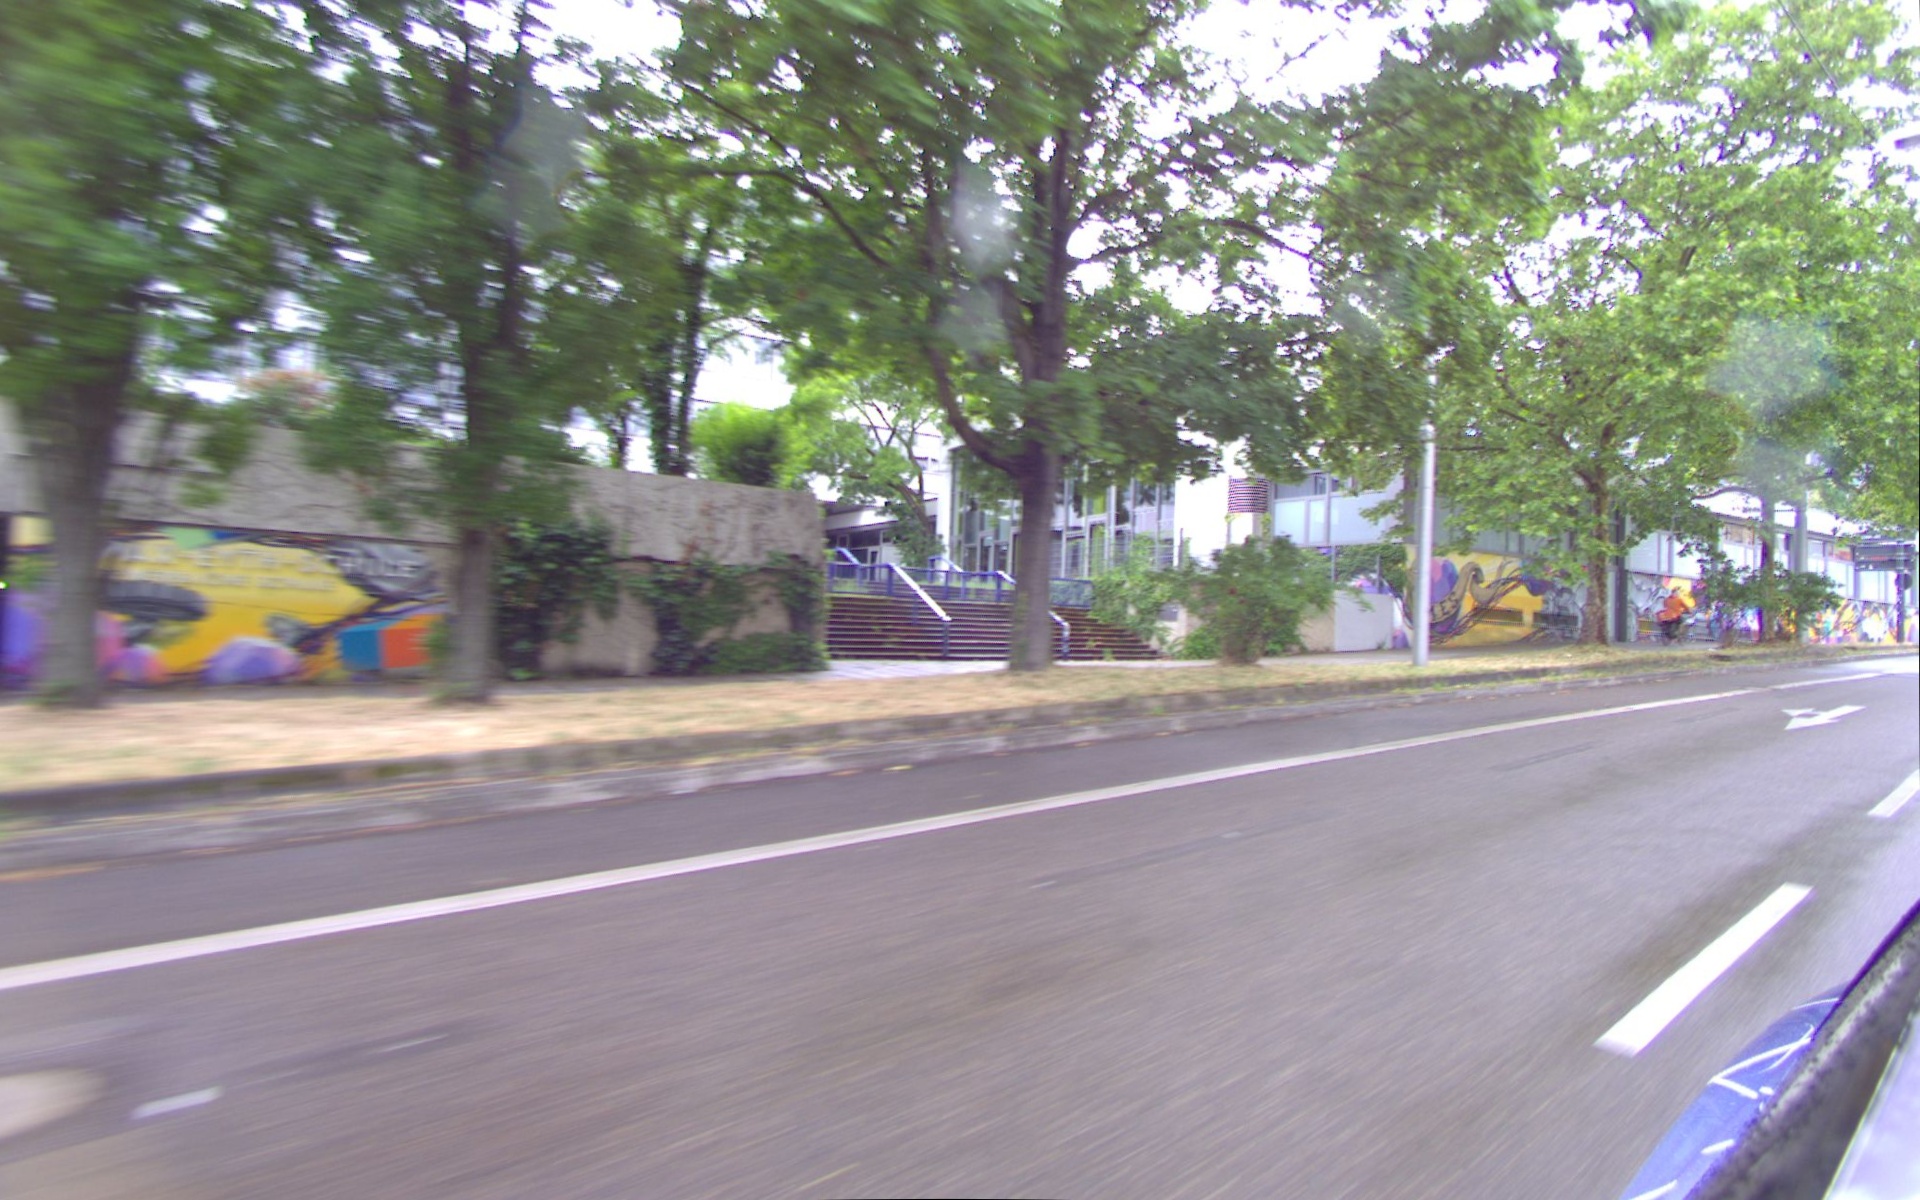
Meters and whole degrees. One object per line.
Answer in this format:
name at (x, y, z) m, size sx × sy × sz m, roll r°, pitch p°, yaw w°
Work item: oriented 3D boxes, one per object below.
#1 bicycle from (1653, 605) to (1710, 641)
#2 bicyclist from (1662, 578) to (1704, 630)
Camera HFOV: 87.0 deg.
bicycle at (23.632, 0.741, 33.154) m, size 2.155 × 1.126 × 0.809 m, roll 1°, pitch 0°, yaw -34°
bicyclist at (23.733, 0.129, 33.230) m, size 1.026 × 1.648 × 0.809 m, roll 1°, pitch 0°, yaw -33°
